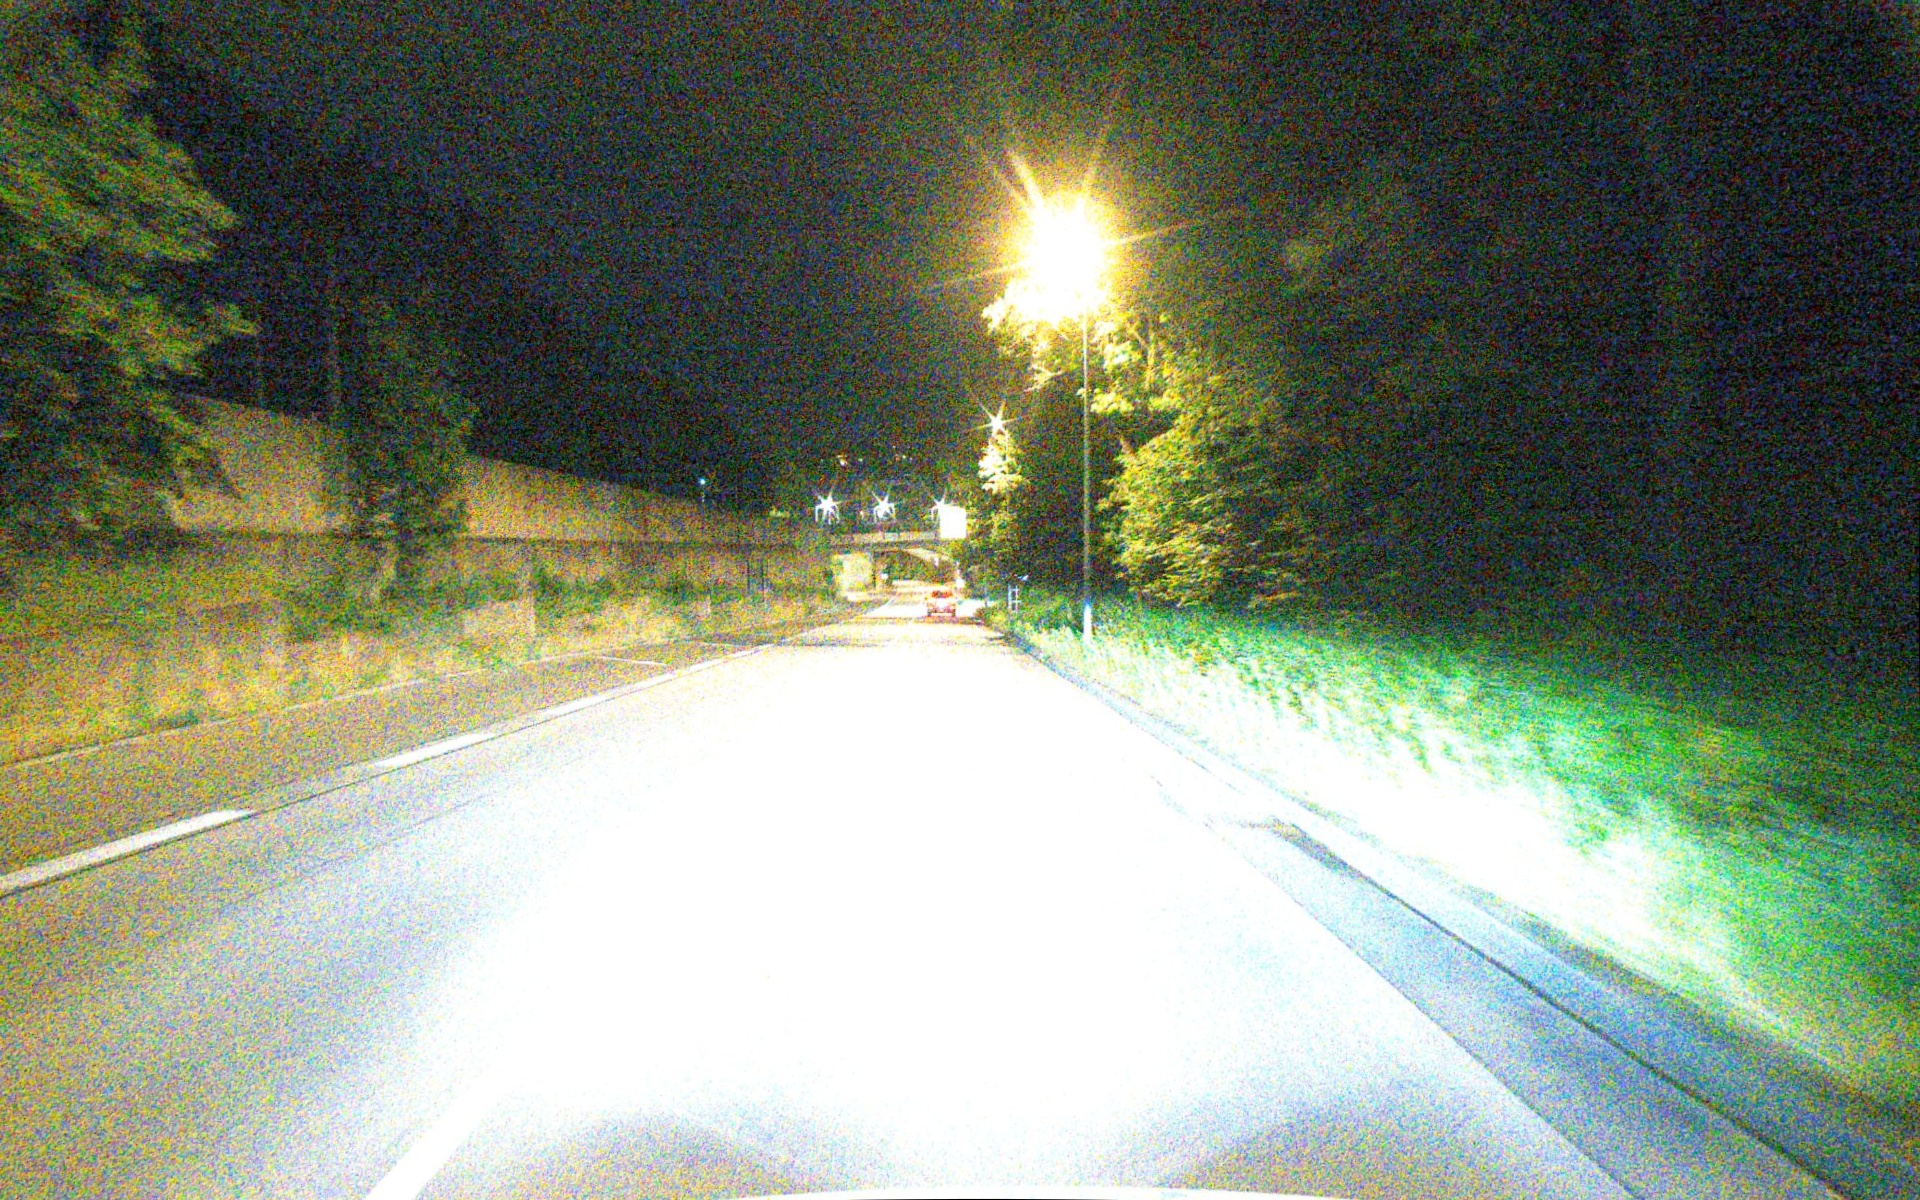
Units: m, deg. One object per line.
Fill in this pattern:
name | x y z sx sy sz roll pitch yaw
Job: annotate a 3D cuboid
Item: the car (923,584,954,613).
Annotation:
car | -1.315 -0.093 102.221 1.726 1.670 3.724 0 1 2
